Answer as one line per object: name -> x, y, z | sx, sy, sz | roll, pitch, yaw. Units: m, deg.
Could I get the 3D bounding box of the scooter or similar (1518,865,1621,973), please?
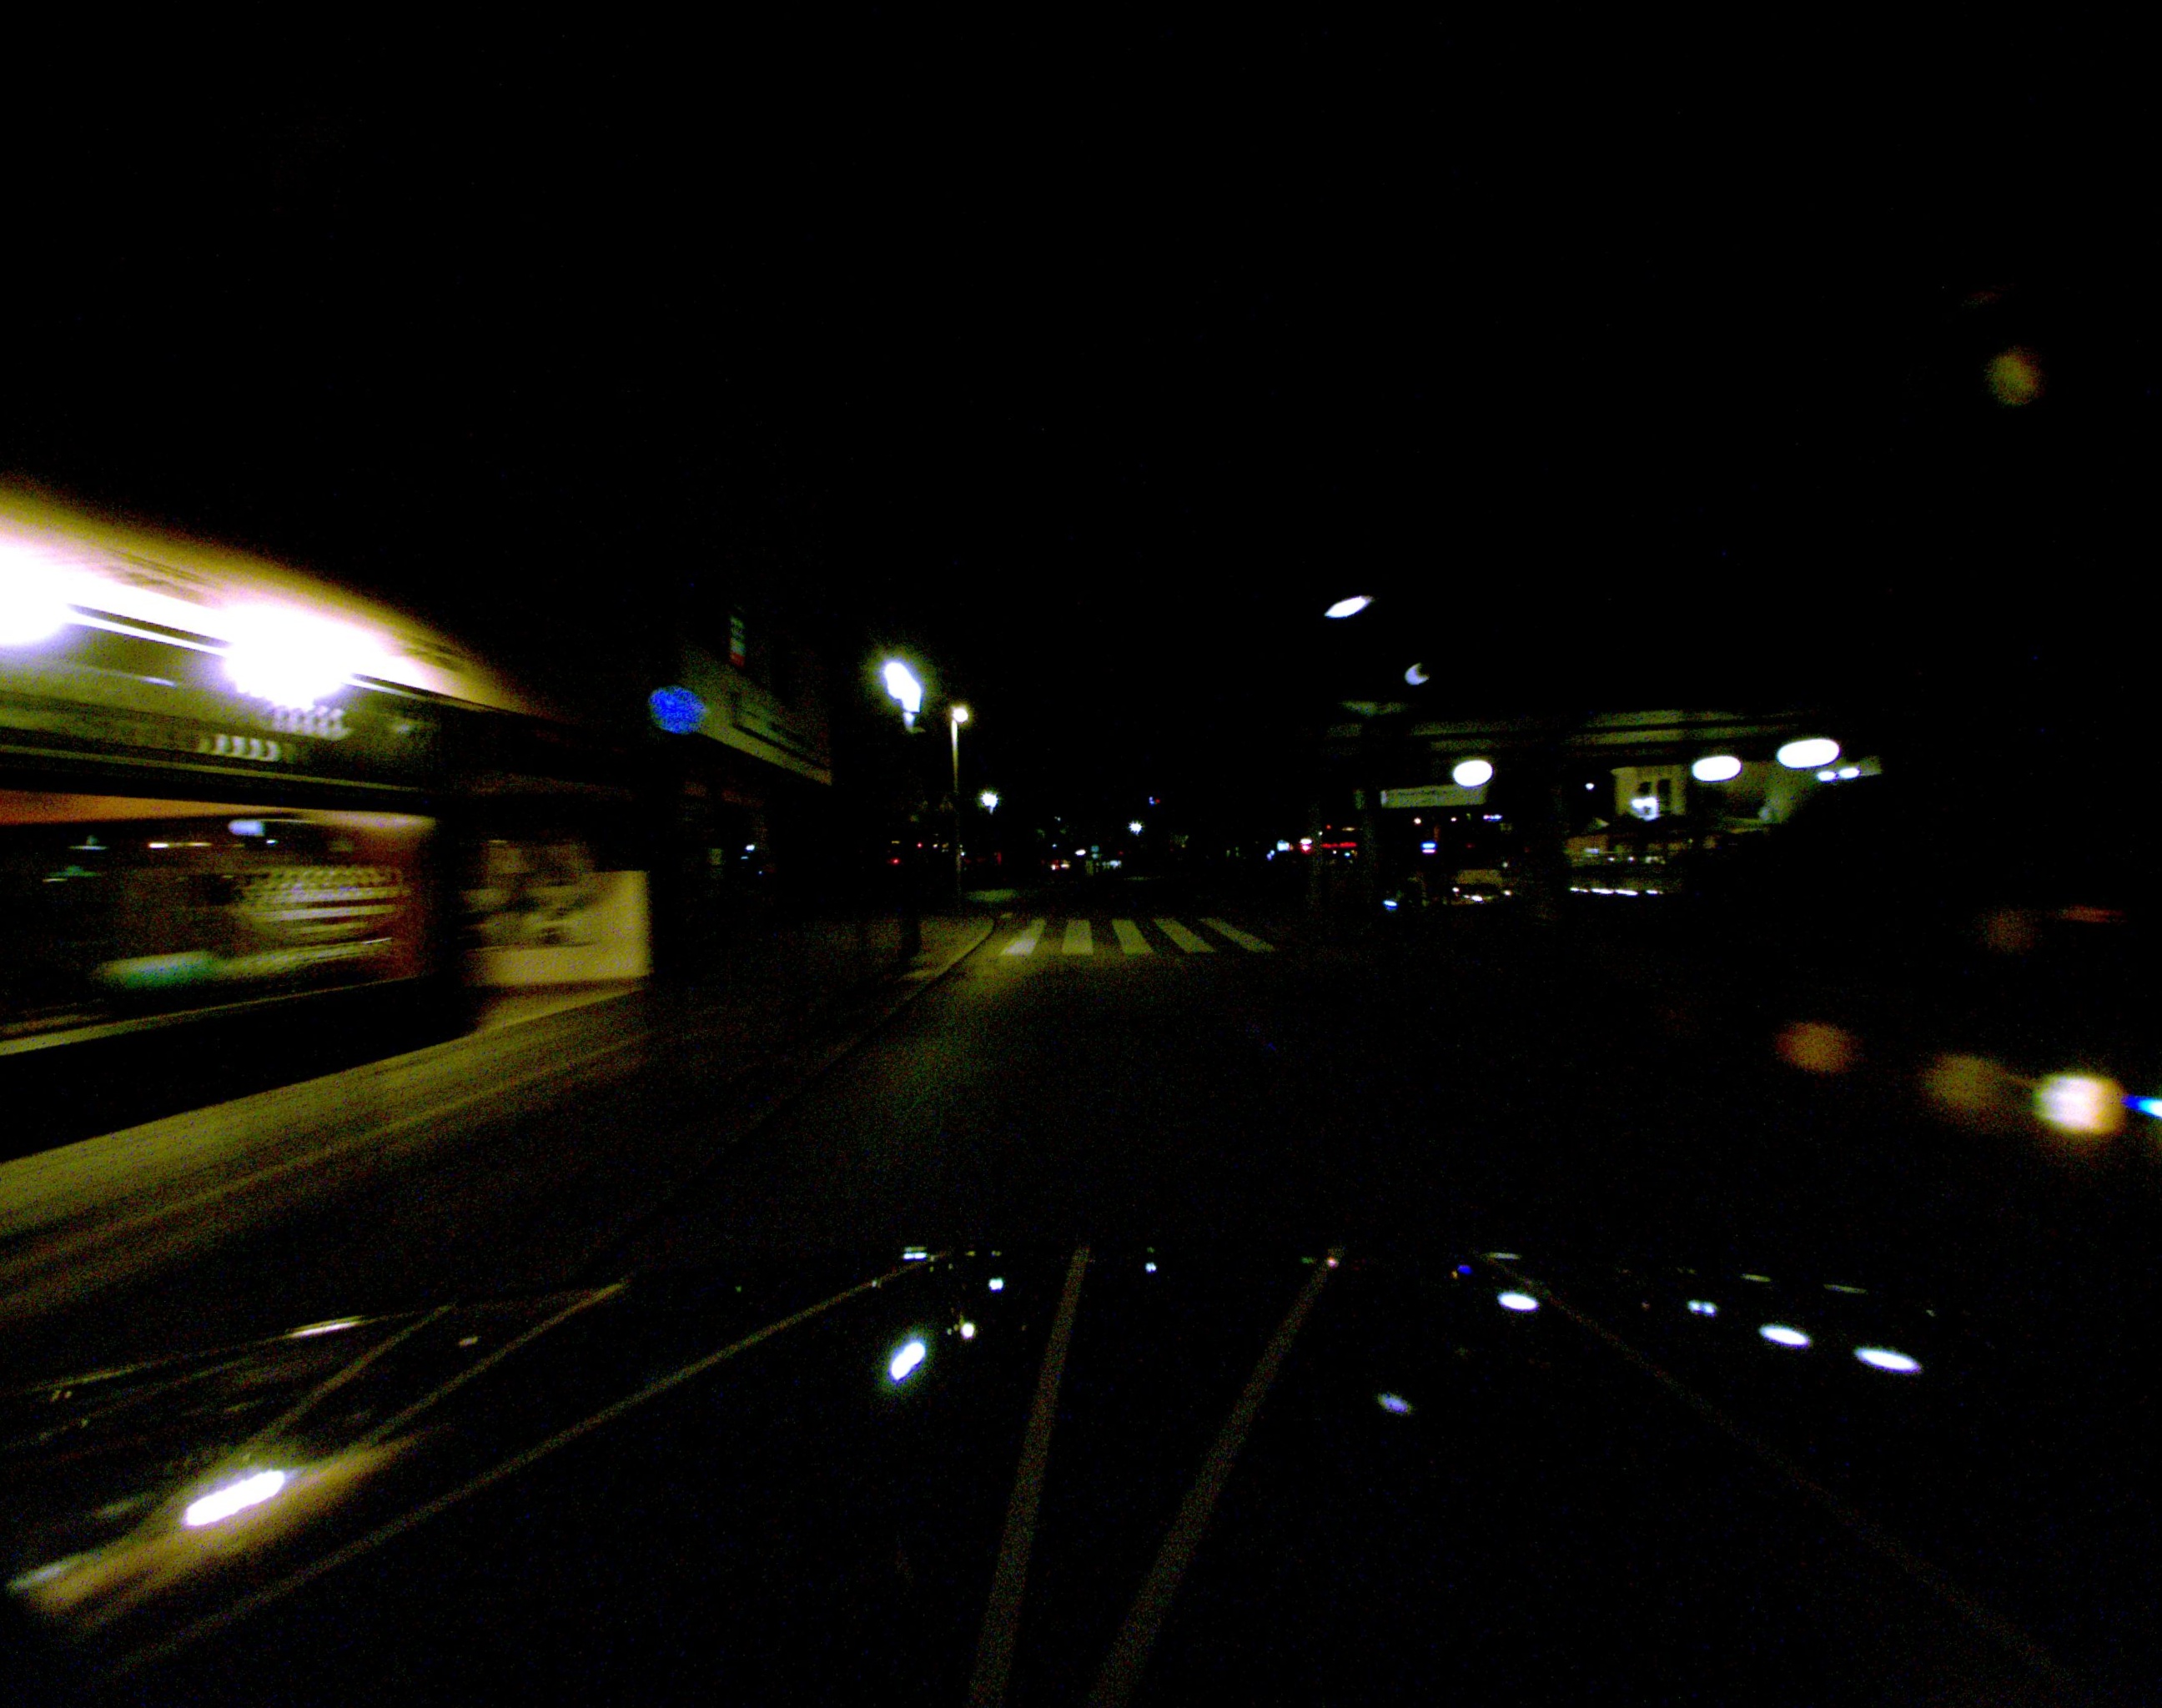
scooter or similar -> 6.195, 0.776, 9.710 | 0.370, 1.256, 1.449 | -3, -1, 2

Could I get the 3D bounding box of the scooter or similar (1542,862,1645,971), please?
scooter or similar -> 6.497, 0.752, 9.708 | 0.318, 1.280, 1.449 | -3, -1, 2

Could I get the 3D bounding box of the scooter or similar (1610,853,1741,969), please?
scooter or similar -> 7.522, 0.687, 9.687 | 0.597, 1.371, 1.352 | -1, -1, 1
